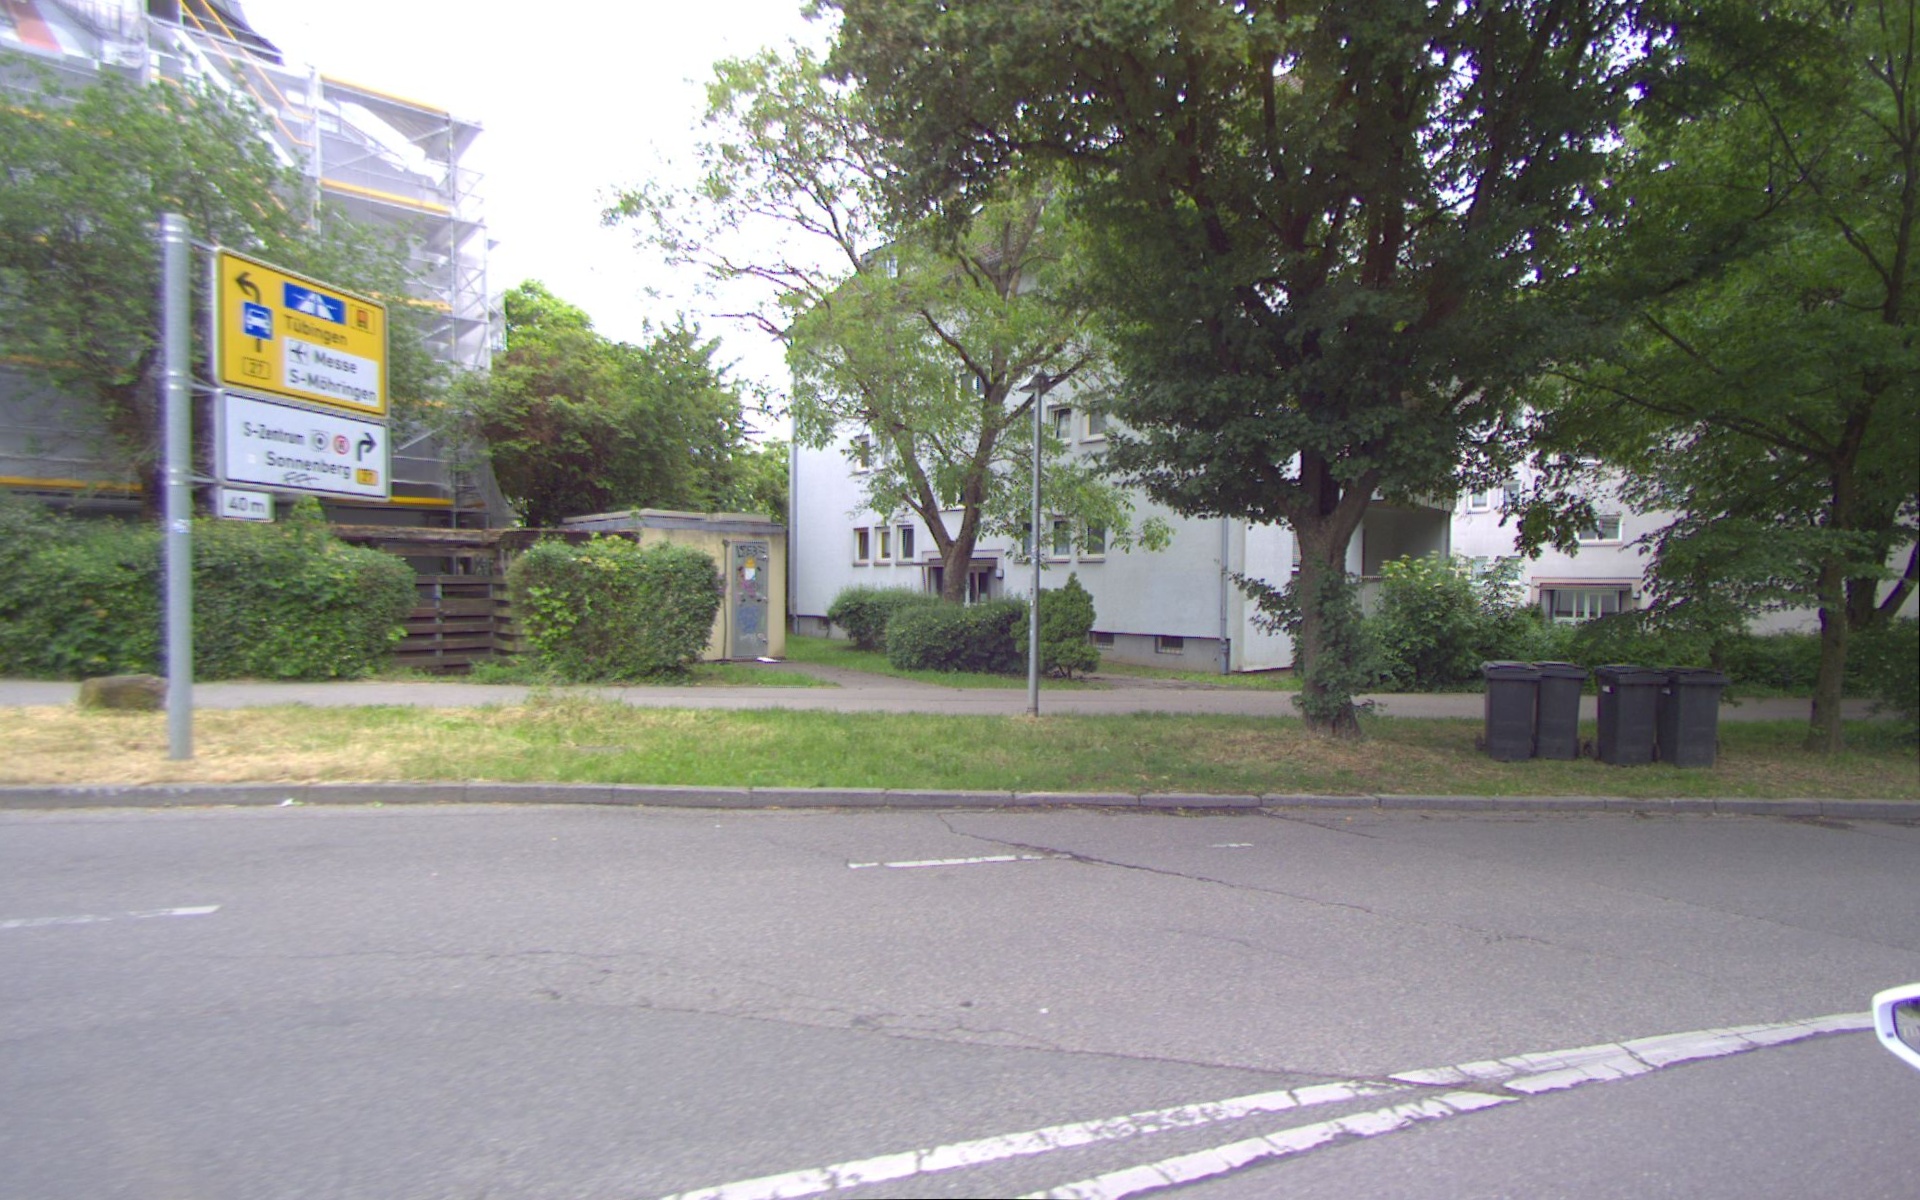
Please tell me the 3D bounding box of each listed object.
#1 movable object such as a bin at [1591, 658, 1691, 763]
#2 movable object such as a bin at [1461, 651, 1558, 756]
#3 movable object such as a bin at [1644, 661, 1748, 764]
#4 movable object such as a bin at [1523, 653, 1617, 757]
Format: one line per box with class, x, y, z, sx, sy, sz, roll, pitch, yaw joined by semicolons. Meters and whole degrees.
movable object such as a bin;6.480;1.034;9.584;0.566;0.878;0.601;3;3;14
movable object such as a bin;5.282;0.981;9.690;0.610;0.875;0.731;3;3;14
movable object such as a bin;6.957;1.050;9.520;0.566;0.856;0.601;3;3;14
movable object such as a bin;5.903;1.003;9.753;0.581;0.891;0.621;3;3;14
